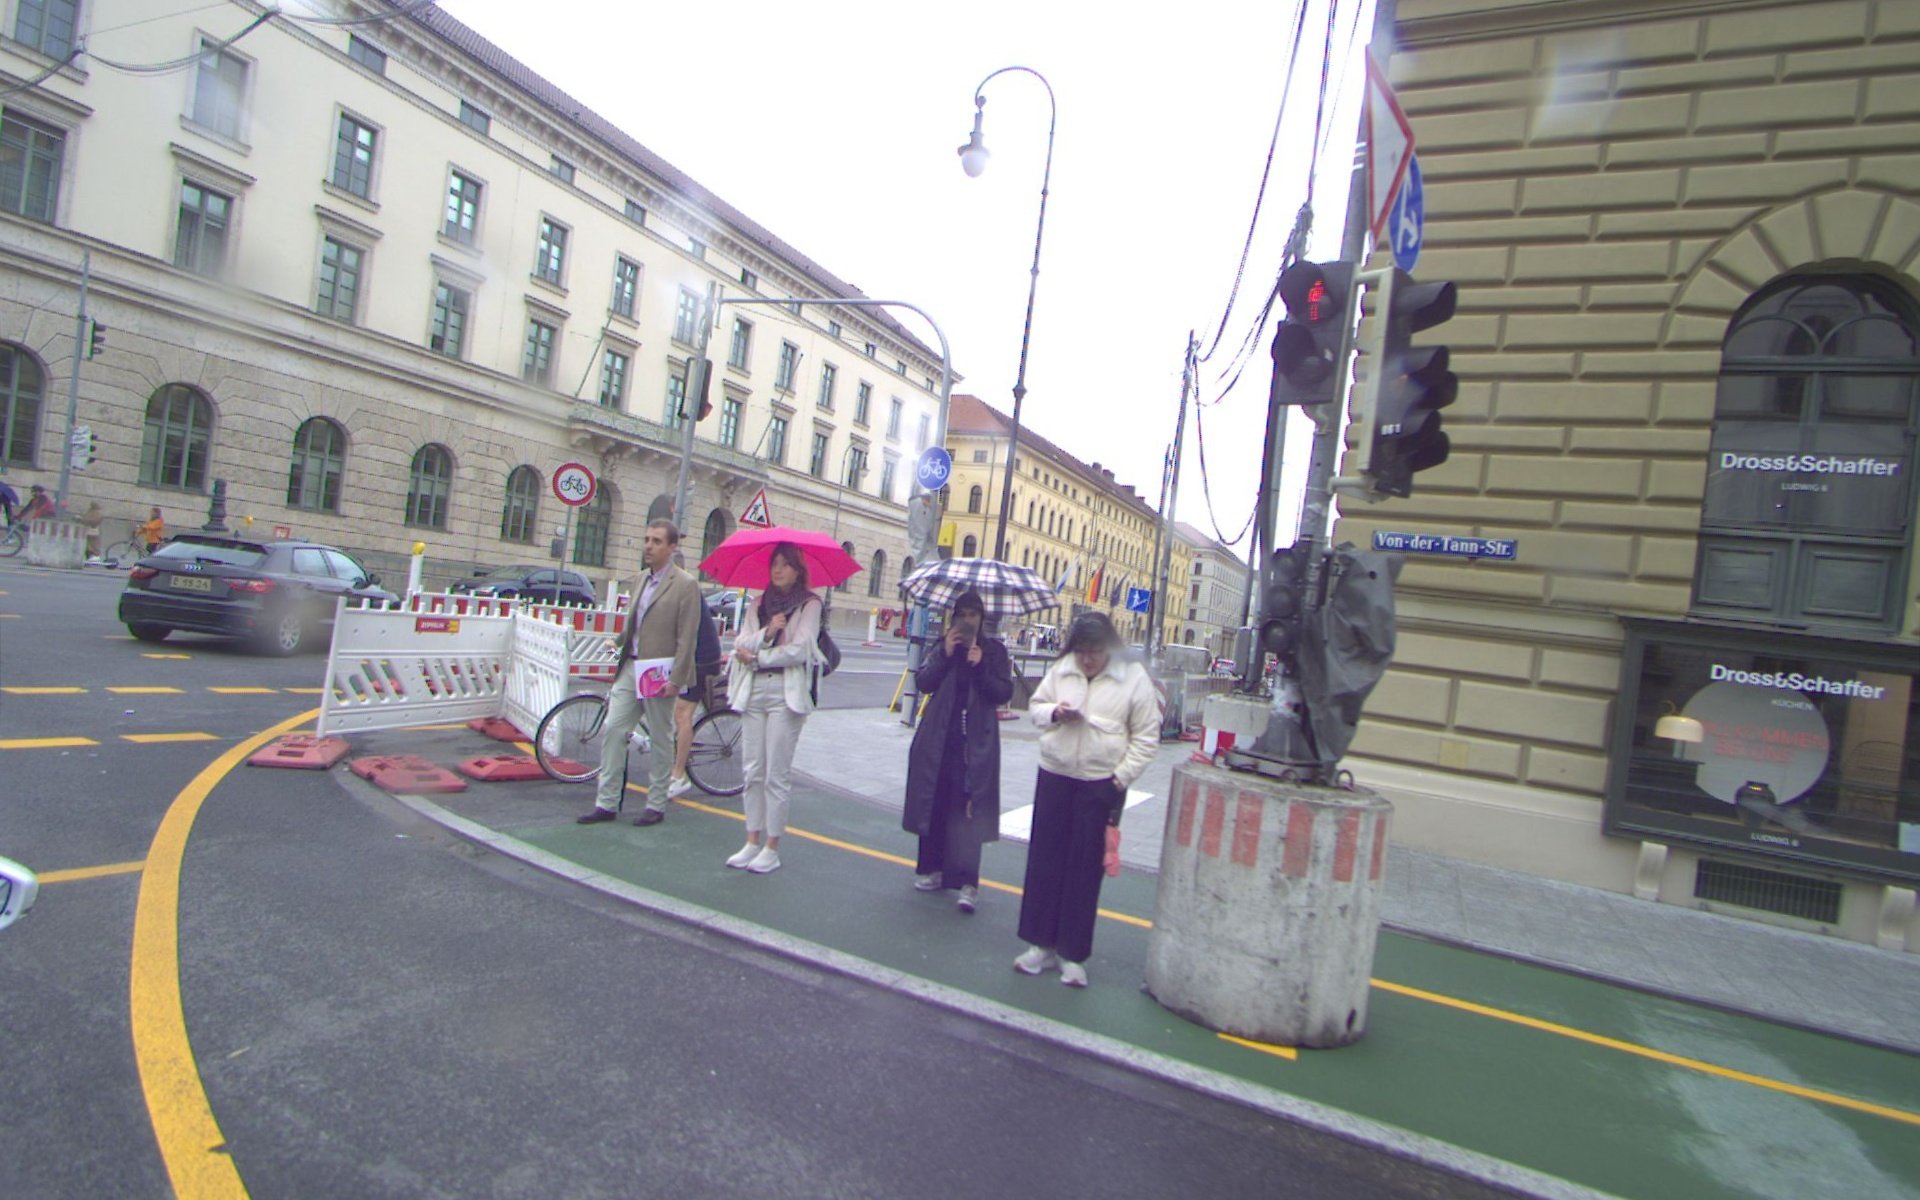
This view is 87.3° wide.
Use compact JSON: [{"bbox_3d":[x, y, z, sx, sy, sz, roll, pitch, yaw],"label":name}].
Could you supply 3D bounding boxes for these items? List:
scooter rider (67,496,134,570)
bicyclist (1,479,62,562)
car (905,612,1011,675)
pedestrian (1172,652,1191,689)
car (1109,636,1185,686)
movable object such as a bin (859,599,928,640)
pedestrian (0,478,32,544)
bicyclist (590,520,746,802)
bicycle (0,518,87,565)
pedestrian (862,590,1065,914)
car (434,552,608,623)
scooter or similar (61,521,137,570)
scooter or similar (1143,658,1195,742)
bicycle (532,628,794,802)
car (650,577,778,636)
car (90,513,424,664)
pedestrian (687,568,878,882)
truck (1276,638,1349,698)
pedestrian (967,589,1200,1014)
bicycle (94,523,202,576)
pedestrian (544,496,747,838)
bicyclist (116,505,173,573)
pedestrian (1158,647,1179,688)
[{"bbox_3d":[-21.054,-1.632,24.664,0.582,1.641,0.935,8,-1,27],"label":"scooter rider"},{"bbox_3d":[-22.551,-1.915,24.435,0.649,1.863,0.746,8,-1,28],"label":"bicyclist"},{"bbox_3d":[0.014,1.490,33.195,1.743,1.635,4.000,8,-2,26],"label":"car"},{"bbox_3d":[10.882,3.488,49.439,0.607,1.722,0.541,8,-1,29],"label":"pedestrian"},{"bbox_3d":[7.760,2.536,41.403,2.038,1.681,4.223,9,-1,23],"label":"car"},{"bbox_3d":[-4.236,1.303,65.523,1.489,2.036,5.975,8,-2,26],"label":"movable object such as a bin"},{"bbox_3d":[-26.261,-2.470,27.645,0.805,1.713,0.717,8,-1,27],"label":"pedestrian"},{"bbox_3d":[-2.114,0.437,7.255,0.789,1.875,0.565,8,-1,-22],"label":"bicyclist"},{"bbox_3d":[-22.625,-1.447,24.423,0.650,0.889,1.977,8,-2,28],"label":"bicycle"},{"bbox_3d":[0.035,0.803,5.583,0.670,1.585,0.704,8,-1,28],"label":"pedestrian"},{"bbox_3d":[-11.996,-0.289,27.790,1.718,1.404,4.240,6,-3,25],"label":"car"},{"bbox_3d":[-21.093,-1.317,24.662,0.577,0.976,1.214,8,-2,27],"label":"scooter or similar"},{"bbox_3d":[3.380,1.616,16.211,0.345,1.264,1.140,8,-1,28],"label":"scooter or similar"},{"bbox_3d":[-2.133,0.834,7.268,1.635,1.023,0.584,9,-1,-22],"label":"bicycle"},{"bbox_3d":[-8.514,0.276,35.196,1.760,1.585,4.574,5,-2,25],"label":"car"},{"bbox_3d":[-8.831,-0.113,13.138,1.838,1.404,3.995,8,-1,-8],"label":"car"},{"bbox_3d":[-0.977,0.675,5.638,0.532,1.585,0.704,8,-1,28],"label":"pedestrian"},{"bbox_3d":[19.899,3.889,56.574,2.586,2.796,5.803,7,-2,30],"label":"truck"},{"bbox_3d":[0.552,0.828,4.414,0.662,1.638,0.533,8,-1,28],"label":"pedestrian"},{"bbox_3d":[-21.342,-1.312,26.478,0.781,1.052,1.964,8,-2,28],"label":"bicycle"},{"bbox_3d":[-1.902,0.394,6.132,0.630,1.906,0.704,8,-1,30],"label":"pedestrian"},{"bbox_3d":[-21.365,-1.599,26.360,0.781,1.634,0.746,8,-1,28],"label":"bicyclist"},{"bbox_3d":[10.313,3.339,49.775,0.607,1.896,0.541,8,-1,30],"label":"pedestrian"}]
